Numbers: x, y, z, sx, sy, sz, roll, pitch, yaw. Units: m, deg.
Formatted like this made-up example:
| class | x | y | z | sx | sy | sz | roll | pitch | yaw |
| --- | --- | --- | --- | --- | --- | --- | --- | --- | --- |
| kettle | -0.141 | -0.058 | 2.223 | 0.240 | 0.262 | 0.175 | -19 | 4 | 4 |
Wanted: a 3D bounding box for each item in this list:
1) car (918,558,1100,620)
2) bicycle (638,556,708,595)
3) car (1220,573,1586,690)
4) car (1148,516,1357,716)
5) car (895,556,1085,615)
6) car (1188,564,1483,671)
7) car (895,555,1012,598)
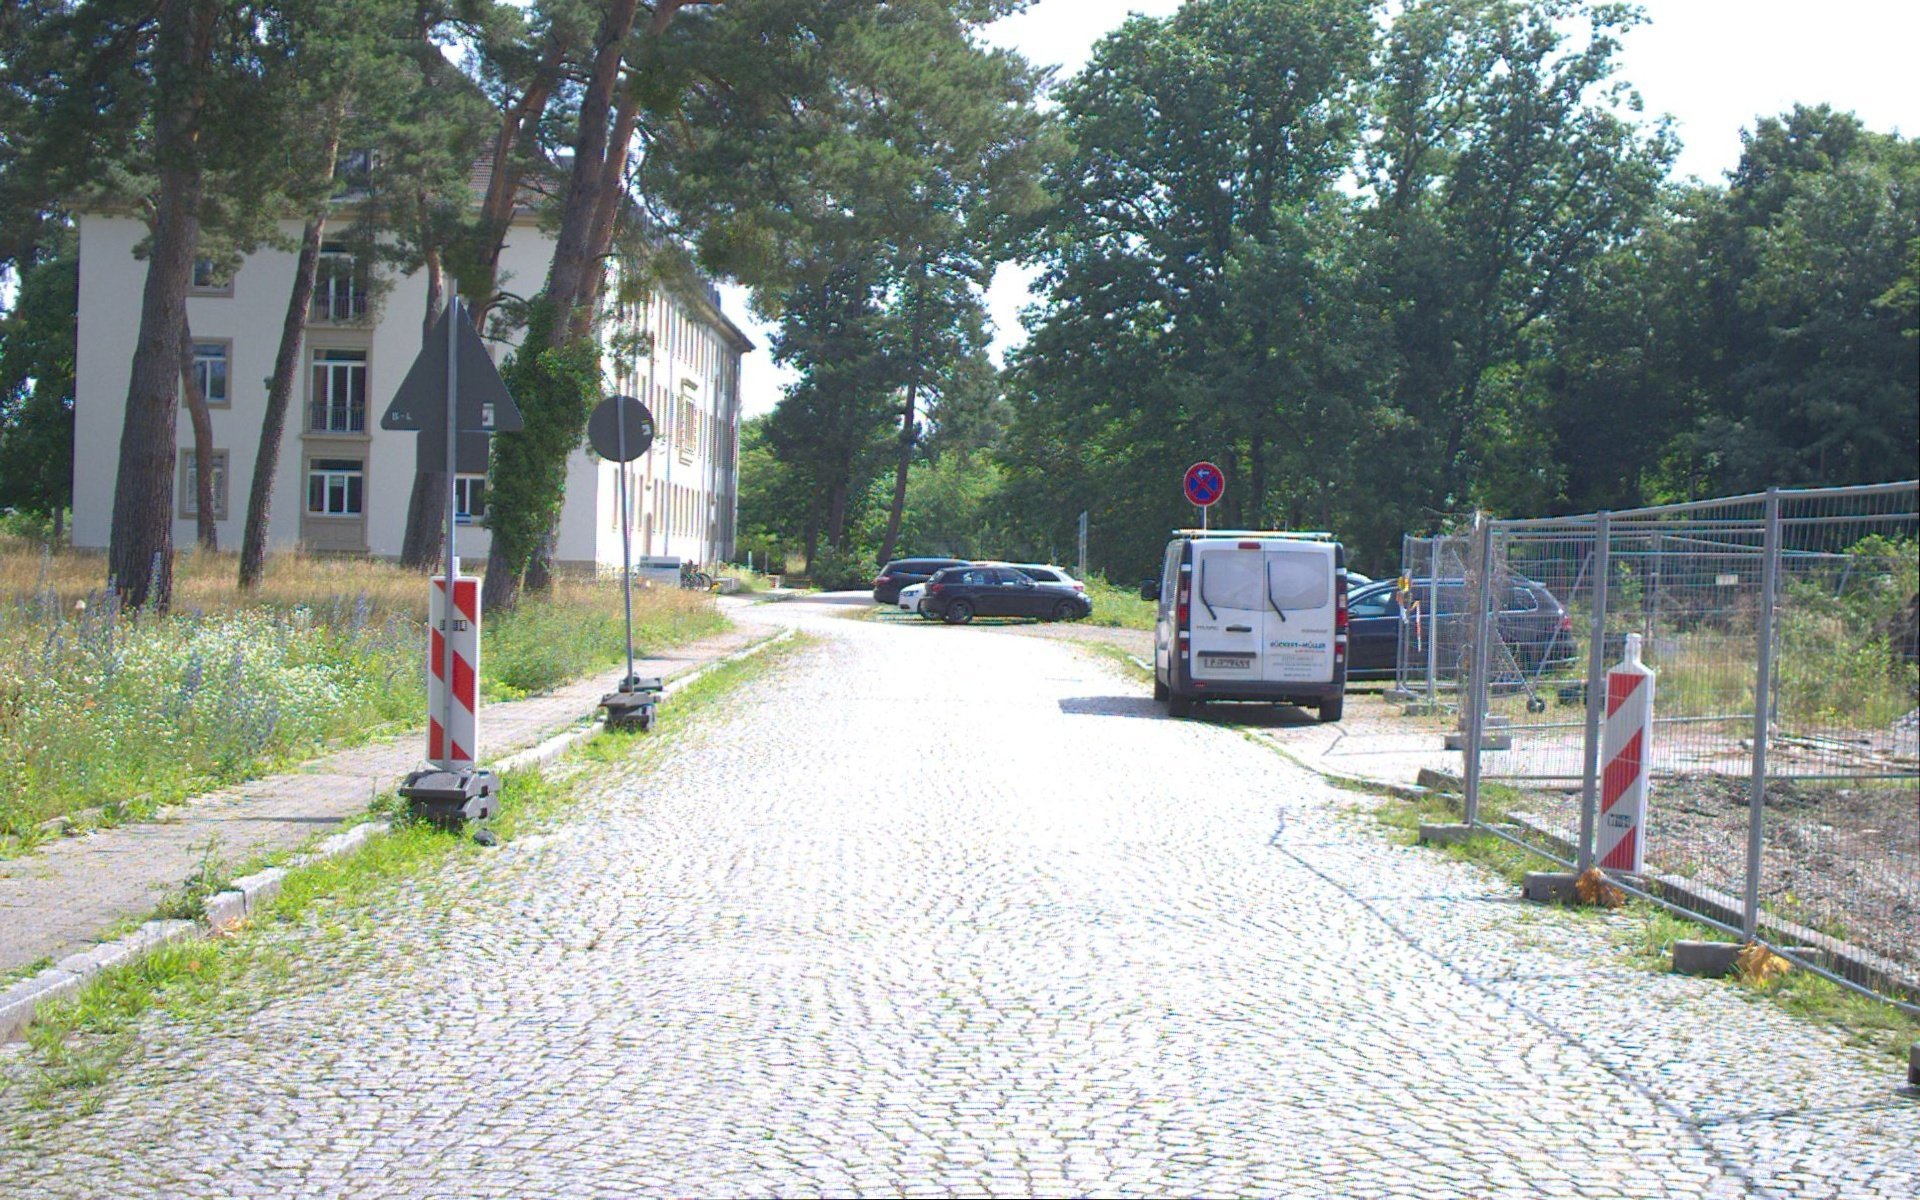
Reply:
| class | x | y | z | sx | sy | sz | roll | pitch | yaw |
| --- | --- | --- | --- | --- | --- | --- | --- | --- | --- |
| car | 1.207 | -0.272 | 85.997 | 4.323 | 1.495 | 1.830 | 0 | 2 | -8 |
| bicycle | -9.505 | -0.816 | 113.701 | 2.222 | 1.256 | 0.623 | 1 | 0 | 2 |
| car | 5.708 | 0.396 | 44.604 | 4.453 | 1.470 | 1.746 | 0 | 1 | -4 |
| car | 3.205 | 0.145 | 38.737 | 1.914 | 2.046 | 5.678 | 1 | 1 | 1 |
| car | 0.753 | -0.387 | 89.182 | 4.861 | 1.467 | 1.875 | 0 | 2 | -1 |
| car | 5.357 | 0.233 | 49.324 | 3.986 | 1.501 | 1.747 | 0 | 1 | -2 |
| car | -0.236 | -0.840 | 124.667 | 4.187 | 1.538 | 1.820 | 0 | 0 | 2 |
